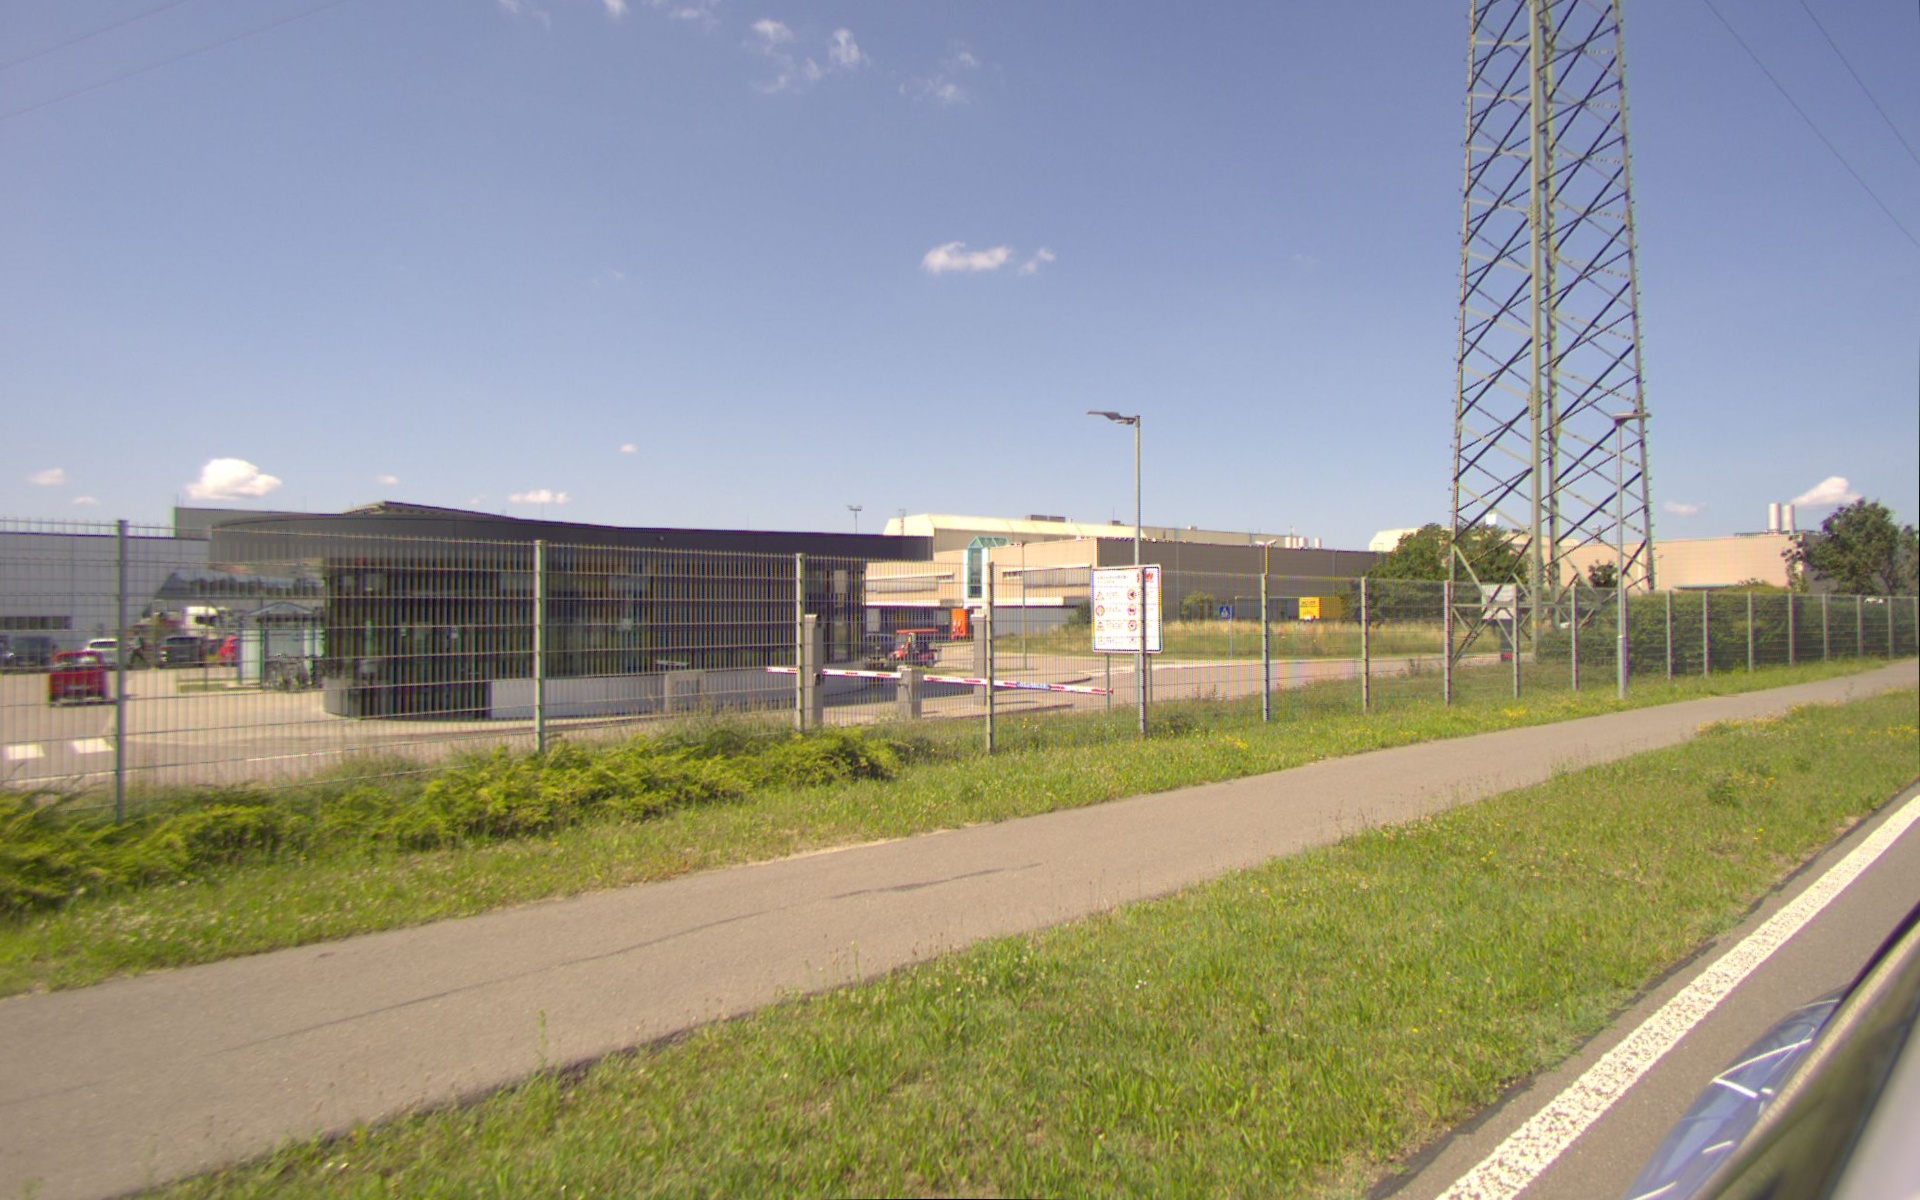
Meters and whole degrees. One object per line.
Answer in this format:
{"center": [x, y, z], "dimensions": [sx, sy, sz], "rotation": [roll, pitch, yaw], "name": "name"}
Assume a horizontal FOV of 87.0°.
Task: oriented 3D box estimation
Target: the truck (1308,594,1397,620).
{"center": [43.610, 0.685, 112.088], "dimensions": [13.476, 2.746, 2.000], "rotation": [0, 1, -35], "name": "truck"}

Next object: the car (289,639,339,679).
{"center": [-27.700, 2.483, 43.344], "dimensions": [1.445, 1.554, 3.053], "rotation": [0, -1, -40], "name": "car"}

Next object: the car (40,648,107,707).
{"center": [-26.483, 2.270, 30.306], "dimensions": [1.429, 1.554, 3.147], "rotation": [0, -1, -40], "name": "car"}

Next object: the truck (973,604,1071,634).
{"center": [6.617, 1.971, 106.343], "dimensions": [11.626, 3.000, 1.999], "rotation": [0, -2, -35], "name": "truck"}

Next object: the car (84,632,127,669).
{"center": [-39.211, 2.282, 46.466], "dimensions": [1.445, 1.554, 3.053], "rotation": [0, -1, -40], "name": "car"}

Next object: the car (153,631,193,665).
{"center": [-37.761, 2.272, 48.541], "dimensions": [1.445, 1.554, 3.053], "rotation": [0, -1, -40], "name": "car"}

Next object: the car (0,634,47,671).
{"center": [-41.621, 2.302, 44.970], "dimensions": [1.445, 1.554, 3.053], "rotation": [0, -1, -40], "name": "car"}

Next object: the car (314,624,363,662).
{"center": [-34.987, 2.406, 56.915], "dimensions": [1.962, 2.040, 4.750], "rotation": [0, -2, -36], "name": "car"}

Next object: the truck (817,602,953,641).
{"center": [-6.739, 1.928, 93.355], "dimensions": [13.370, 3.406, 1.999], "rotation": [0, -2, -35], "name": "truck"}

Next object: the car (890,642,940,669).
{"center": [-2.197, 2.687, 49.536], "dimensions": [2.152, 1.168, 1.200], "rotation": [0, 1, -31], "name": "car"}

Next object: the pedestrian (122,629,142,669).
{"center": [-37.167, 2.194, 45.414], "dimensions": [0.675, 1.767, 0.611], "rotation": [0, 0, -41], "name": "pedestrian"}

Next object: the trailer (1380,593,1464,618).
{"center": [54.819, 0.603, 119.711], "dimensions": [13.824, 2.746, 2.001], "rotation": [0, 1, -33], "name": "trailer"}
